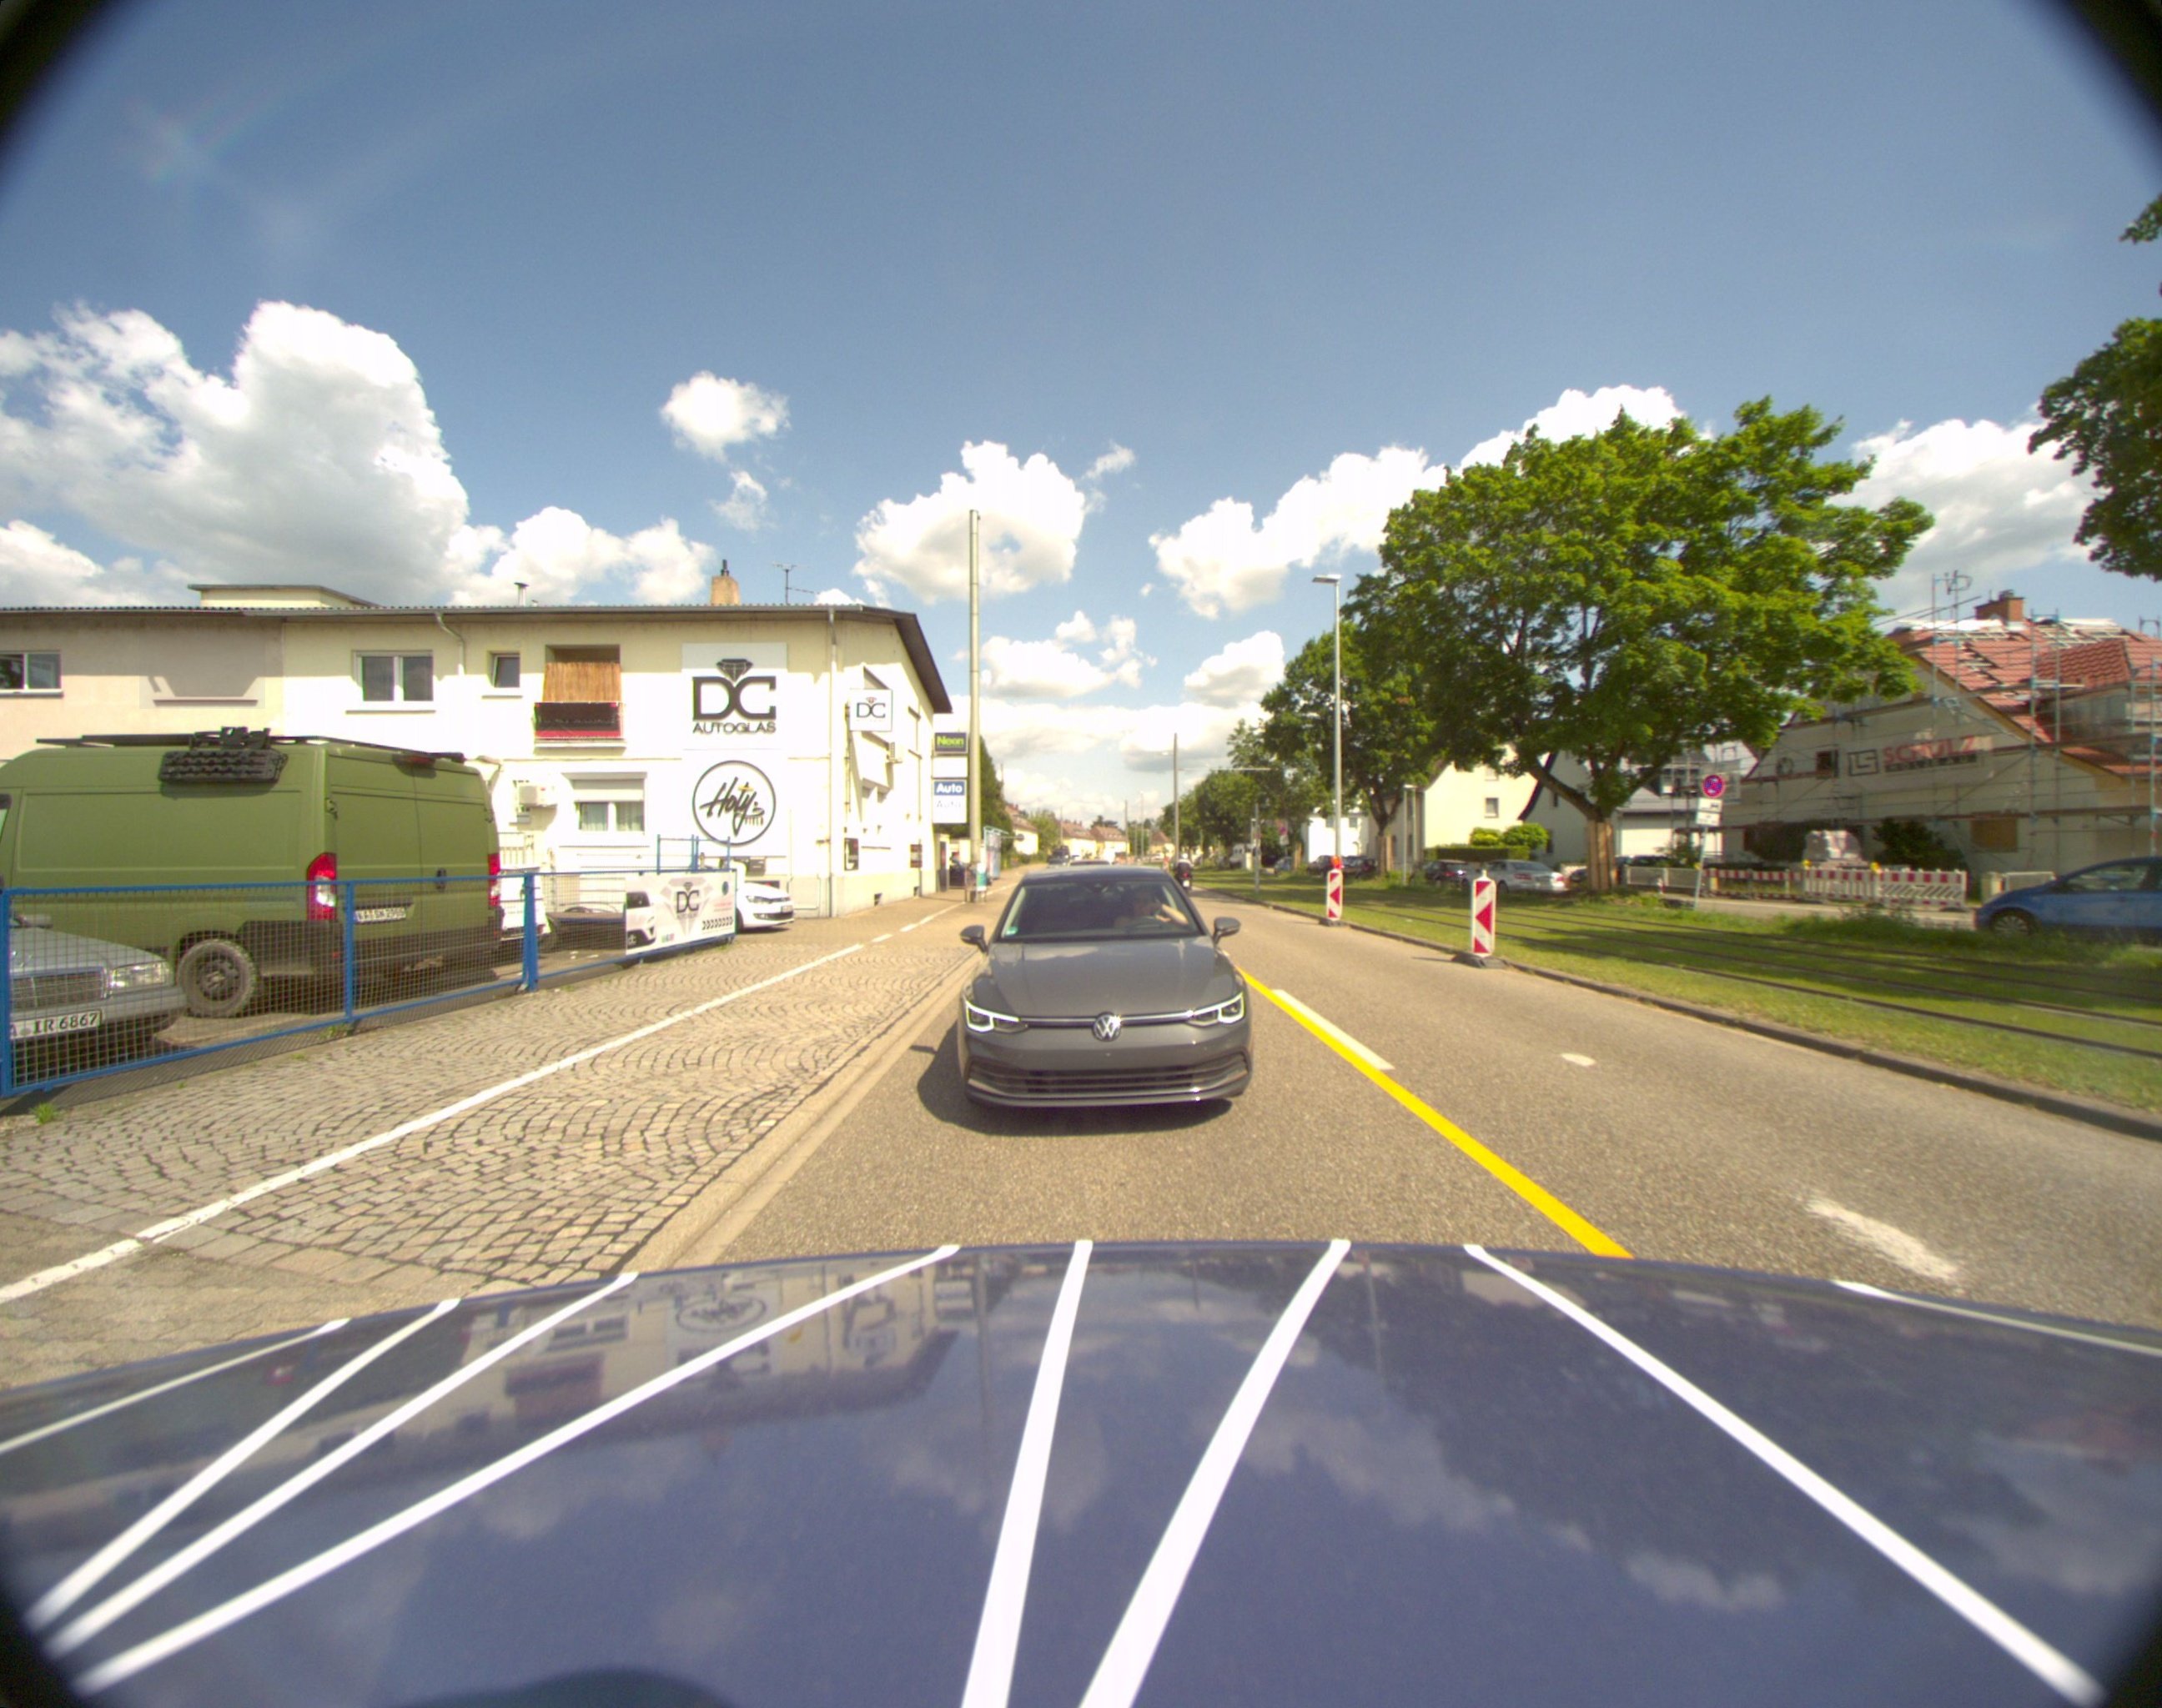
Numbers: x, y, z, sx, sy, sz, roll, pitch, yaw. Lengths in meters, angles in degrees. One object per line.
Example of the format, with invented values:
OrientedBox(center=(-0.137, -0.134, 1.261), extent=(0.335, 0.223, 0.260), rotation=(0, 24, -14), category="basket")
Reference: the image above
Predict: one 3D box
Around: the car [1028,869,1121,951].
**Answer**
OrientedBox(center=(-0.064, 0.996, 14.808), extent=(1.555, 1.216, 3.729), rotation=(-2, 1, 1), category="car")

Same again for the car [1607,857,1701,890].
OrientedBox(center=(25.892, 0.903, 34.460), extent=(3.238, 1.374, 1.490), rotation=(-2, 1, 30), category="car")

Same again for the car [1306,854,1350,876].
OrientedBox(center=(16.432, 0.694, 50.652), extent=(1.636, 1.294, 3.999), rotation=(-2, 1, 1), category="car")

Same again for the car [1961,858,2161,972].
OrientedBox(center=(16.171, 0.882, 11.277), extent=(1.672, 1.504, 3.930), rotation=(-2, 1, 0), category="car")

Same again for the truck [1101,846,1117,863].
OrientedBox(center=(5.176, 0.076, 140.057), extent=(2.665, 2.786, 7.539), rotation=(-2, 1, 3), category="truck")

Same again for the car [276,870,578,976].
OrientedBox(center=(-8.872, 0.902, 10.457), extent=(3.033, 1.267, 1.332), rotation=(1, 1, 2), category="car")

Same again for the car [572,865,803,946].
OrientedBox(center=(-7.629, 0.985, 14.925), extent=(3.725, 1.350, 1.518), rotation=(-2, 1, 4), category="car")

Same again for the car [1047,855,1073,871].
OrientedBox(center=(-1.950, 0.792, 71.071), extent=(1.823, 1.412, 4.002), rotation=(0, 0, 7), category="car")

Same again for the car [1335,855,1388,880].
OrientedBox(center=(16.433, 0.778, 44.654), extent=(1.636, 1.294, 3.999), rotation=(-2, 1, 1), category="car")

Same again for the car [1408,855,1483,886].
OrientedBox(center=(16.577, 0.727, 34.745), extent=(1.625, 1.235, 3.786), rotation=(-2, 1, 1), category="car")

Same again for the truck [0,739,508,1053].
OrientedBox(center=(-8.754, 0.389, 7.692), extent=(4.181, 2.645, 2.108), rotation=(-2, 1, 2), category="truck")

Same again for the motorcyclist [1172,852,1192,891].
OrientedBox(center=(3.696, 0.632, 27.892), extent=(0.651, 1.434, 0.588), rotation=(0, 1, 1), category="motorcyclist")

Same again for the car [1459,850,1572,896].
OrientedBox(center=(16.431, 0.659, 29.026), extent=(1.707, 1.504, 4.523), rotation=(-2, 1, 0), category="car")

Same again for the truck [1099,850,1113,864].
OrientedBox(center=(5.692, 0.676, 173.818), extent=(2.631, 2.872, 7.925), rotation=(-2, 1, 5), category="truck")

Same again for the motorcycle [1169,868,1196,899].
OrientedBox(center=(3.701, 1.056, 27.933), extent=(0.707, 1.036, 2.465), rotation=(0, 1, 1), category="motorcycle")

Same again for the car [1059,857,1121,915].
OrientedBox(center=(0.259, 0.853, 22.008), extent=(1.594, 1.418, 3.707), rotation=(-2, 1, 1), category="car")

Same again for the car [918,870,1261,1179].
OrientedBox(center=(0.094, 0.937, 6.136), extent=(1.743, 1.410, 4.380), rotation=(-2, 1, 1), category="car")

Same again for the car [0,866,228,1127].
OrientedBox(center=(-8.456, 0.929, 4.890), extent=(4.257, 1.499, 1.828), rotation=(-2, 1, 8), category="car")
